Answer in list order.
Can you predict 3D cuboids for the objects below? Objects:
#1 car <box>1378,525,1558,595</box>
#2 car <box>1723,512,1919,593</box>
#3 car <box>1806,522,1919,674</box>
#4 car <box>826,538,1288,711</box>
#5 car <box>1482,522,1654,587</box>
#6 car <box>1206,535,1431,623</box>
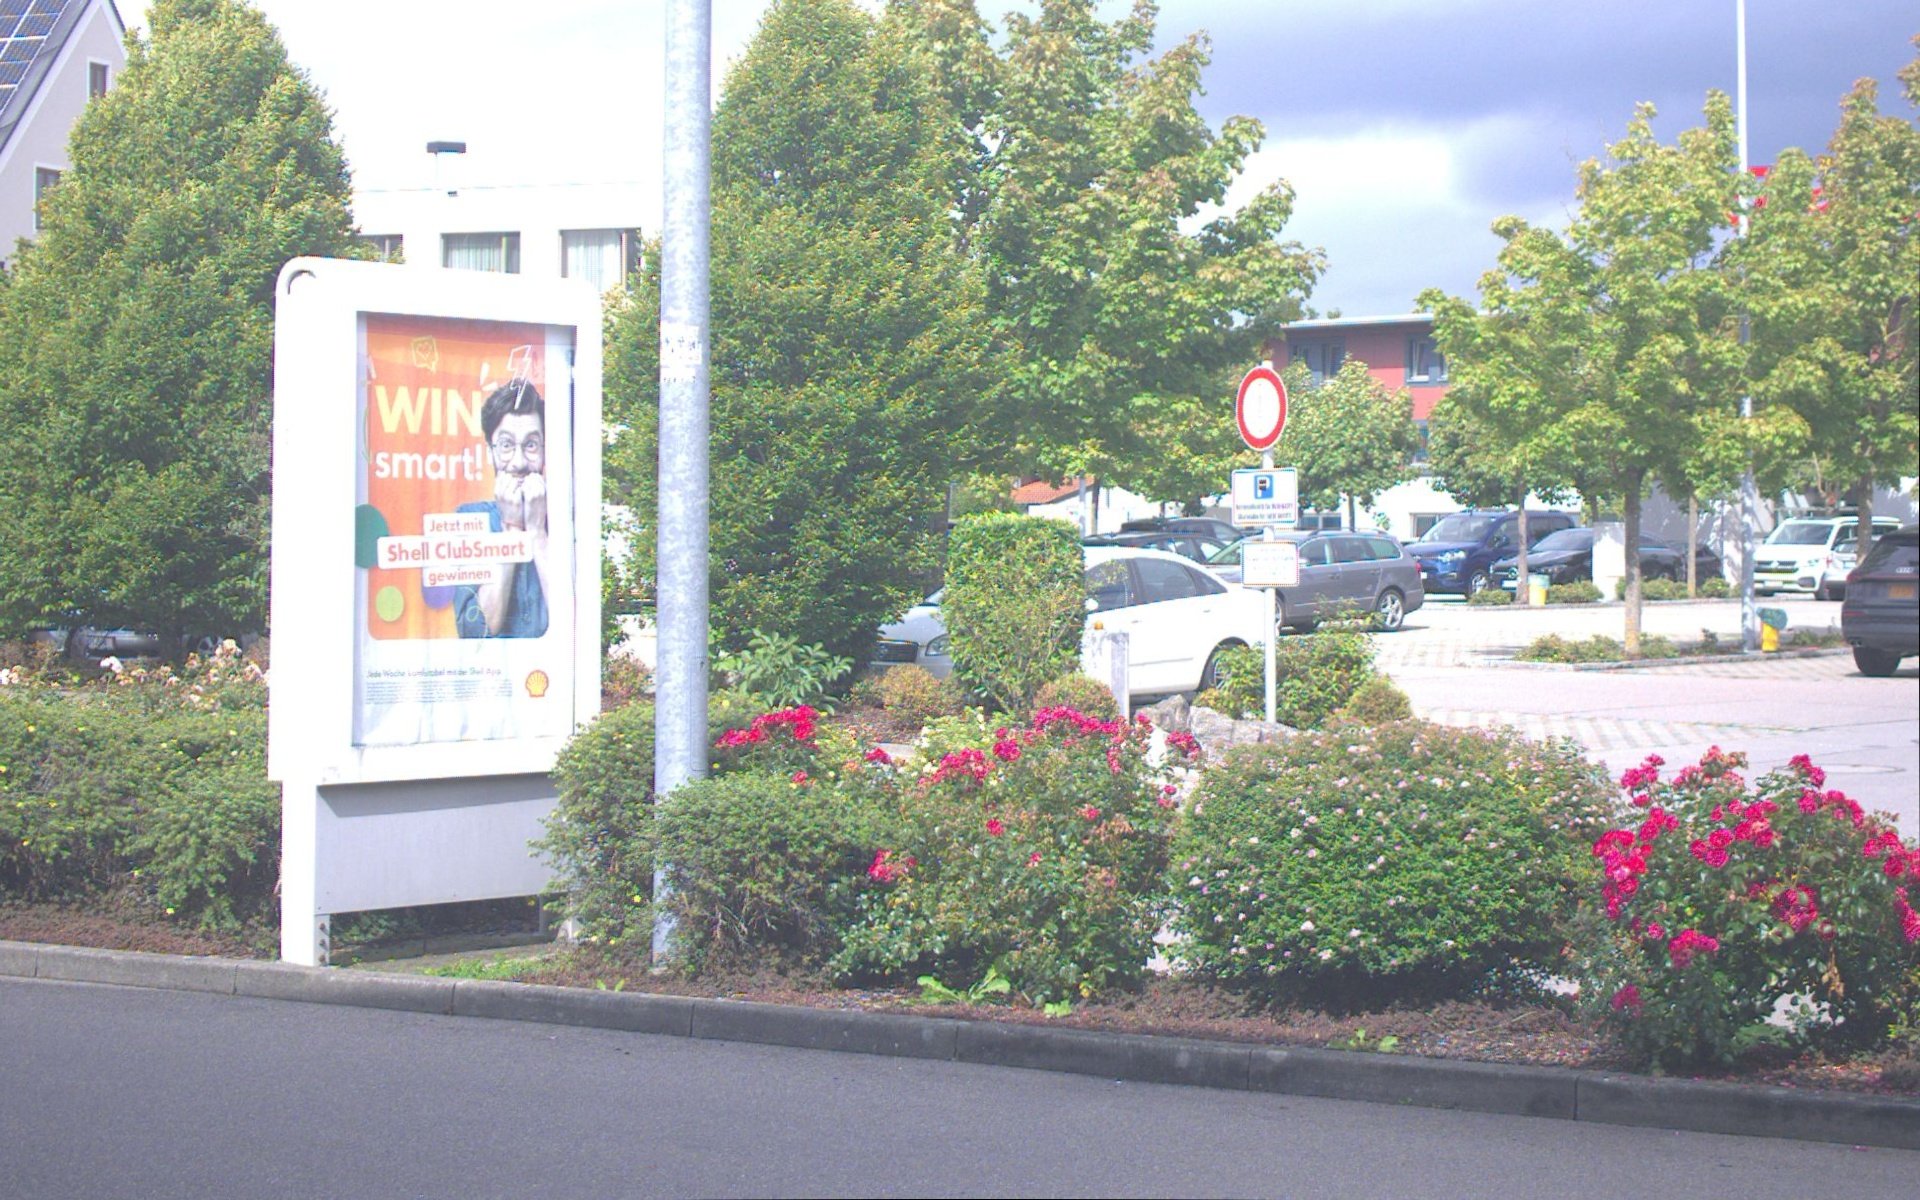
[{"bbox_3d":[9.889,-0.770,66.799,3.379,1.316,1.747,0,1,-44],"label":"car"},{"bbox_3d":[20.250,-1.100,80.658,4.864,1.827,2.184,0,1,-43],"label":"car"},{"bbox_3d":[11.138,-0.016,36.746,4.491,1.543,1.885,0,1,-43],"label":"car"},{"bbox_3d":[0.910,0.196,29.942,4.332,1.399,1.370,0,1,-44],"label":"car"},{"bbox_3d":[11.518,-0.852,65.051,3.409,1.174,1.485,0,1,-44],"label":"car"},{"bbox_3d":[5.206,-0.300,49.731,3.218,1.224,1.505,0,1,-44],"label":"car"}]
